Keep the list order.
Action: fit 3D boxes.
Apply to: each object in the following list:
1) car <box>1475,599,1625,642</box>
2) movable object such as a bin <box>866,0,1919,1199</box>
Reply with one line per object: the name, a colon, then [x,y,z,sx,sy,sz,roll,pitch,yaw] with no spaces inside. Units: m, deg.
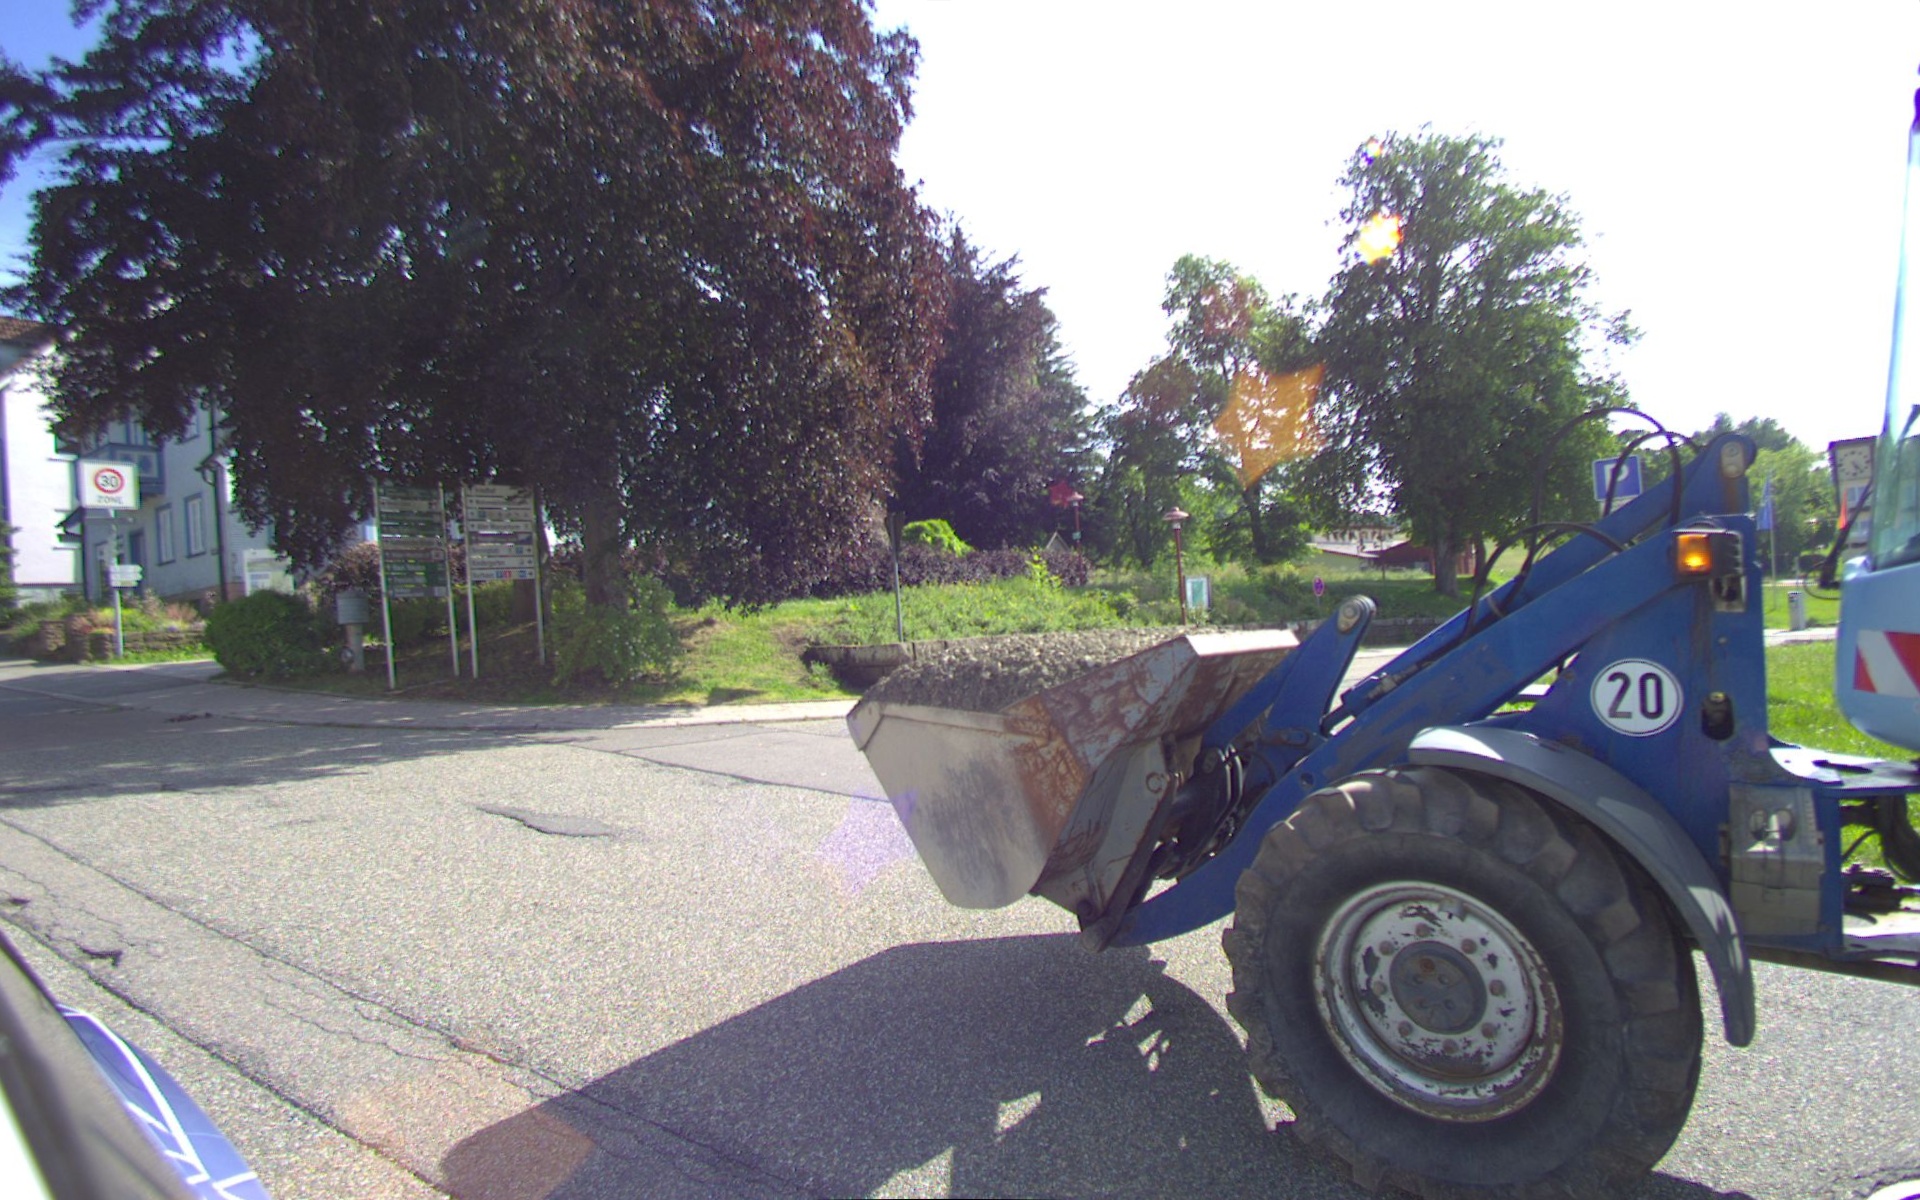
car: [20.986,0.733,36.153,1.793,1.409,4.250,-1,-1,-32]
movable object such as a bin: [2.240,-0.051,2.507,5.103,2.790,1.973,-1,-1,41]
